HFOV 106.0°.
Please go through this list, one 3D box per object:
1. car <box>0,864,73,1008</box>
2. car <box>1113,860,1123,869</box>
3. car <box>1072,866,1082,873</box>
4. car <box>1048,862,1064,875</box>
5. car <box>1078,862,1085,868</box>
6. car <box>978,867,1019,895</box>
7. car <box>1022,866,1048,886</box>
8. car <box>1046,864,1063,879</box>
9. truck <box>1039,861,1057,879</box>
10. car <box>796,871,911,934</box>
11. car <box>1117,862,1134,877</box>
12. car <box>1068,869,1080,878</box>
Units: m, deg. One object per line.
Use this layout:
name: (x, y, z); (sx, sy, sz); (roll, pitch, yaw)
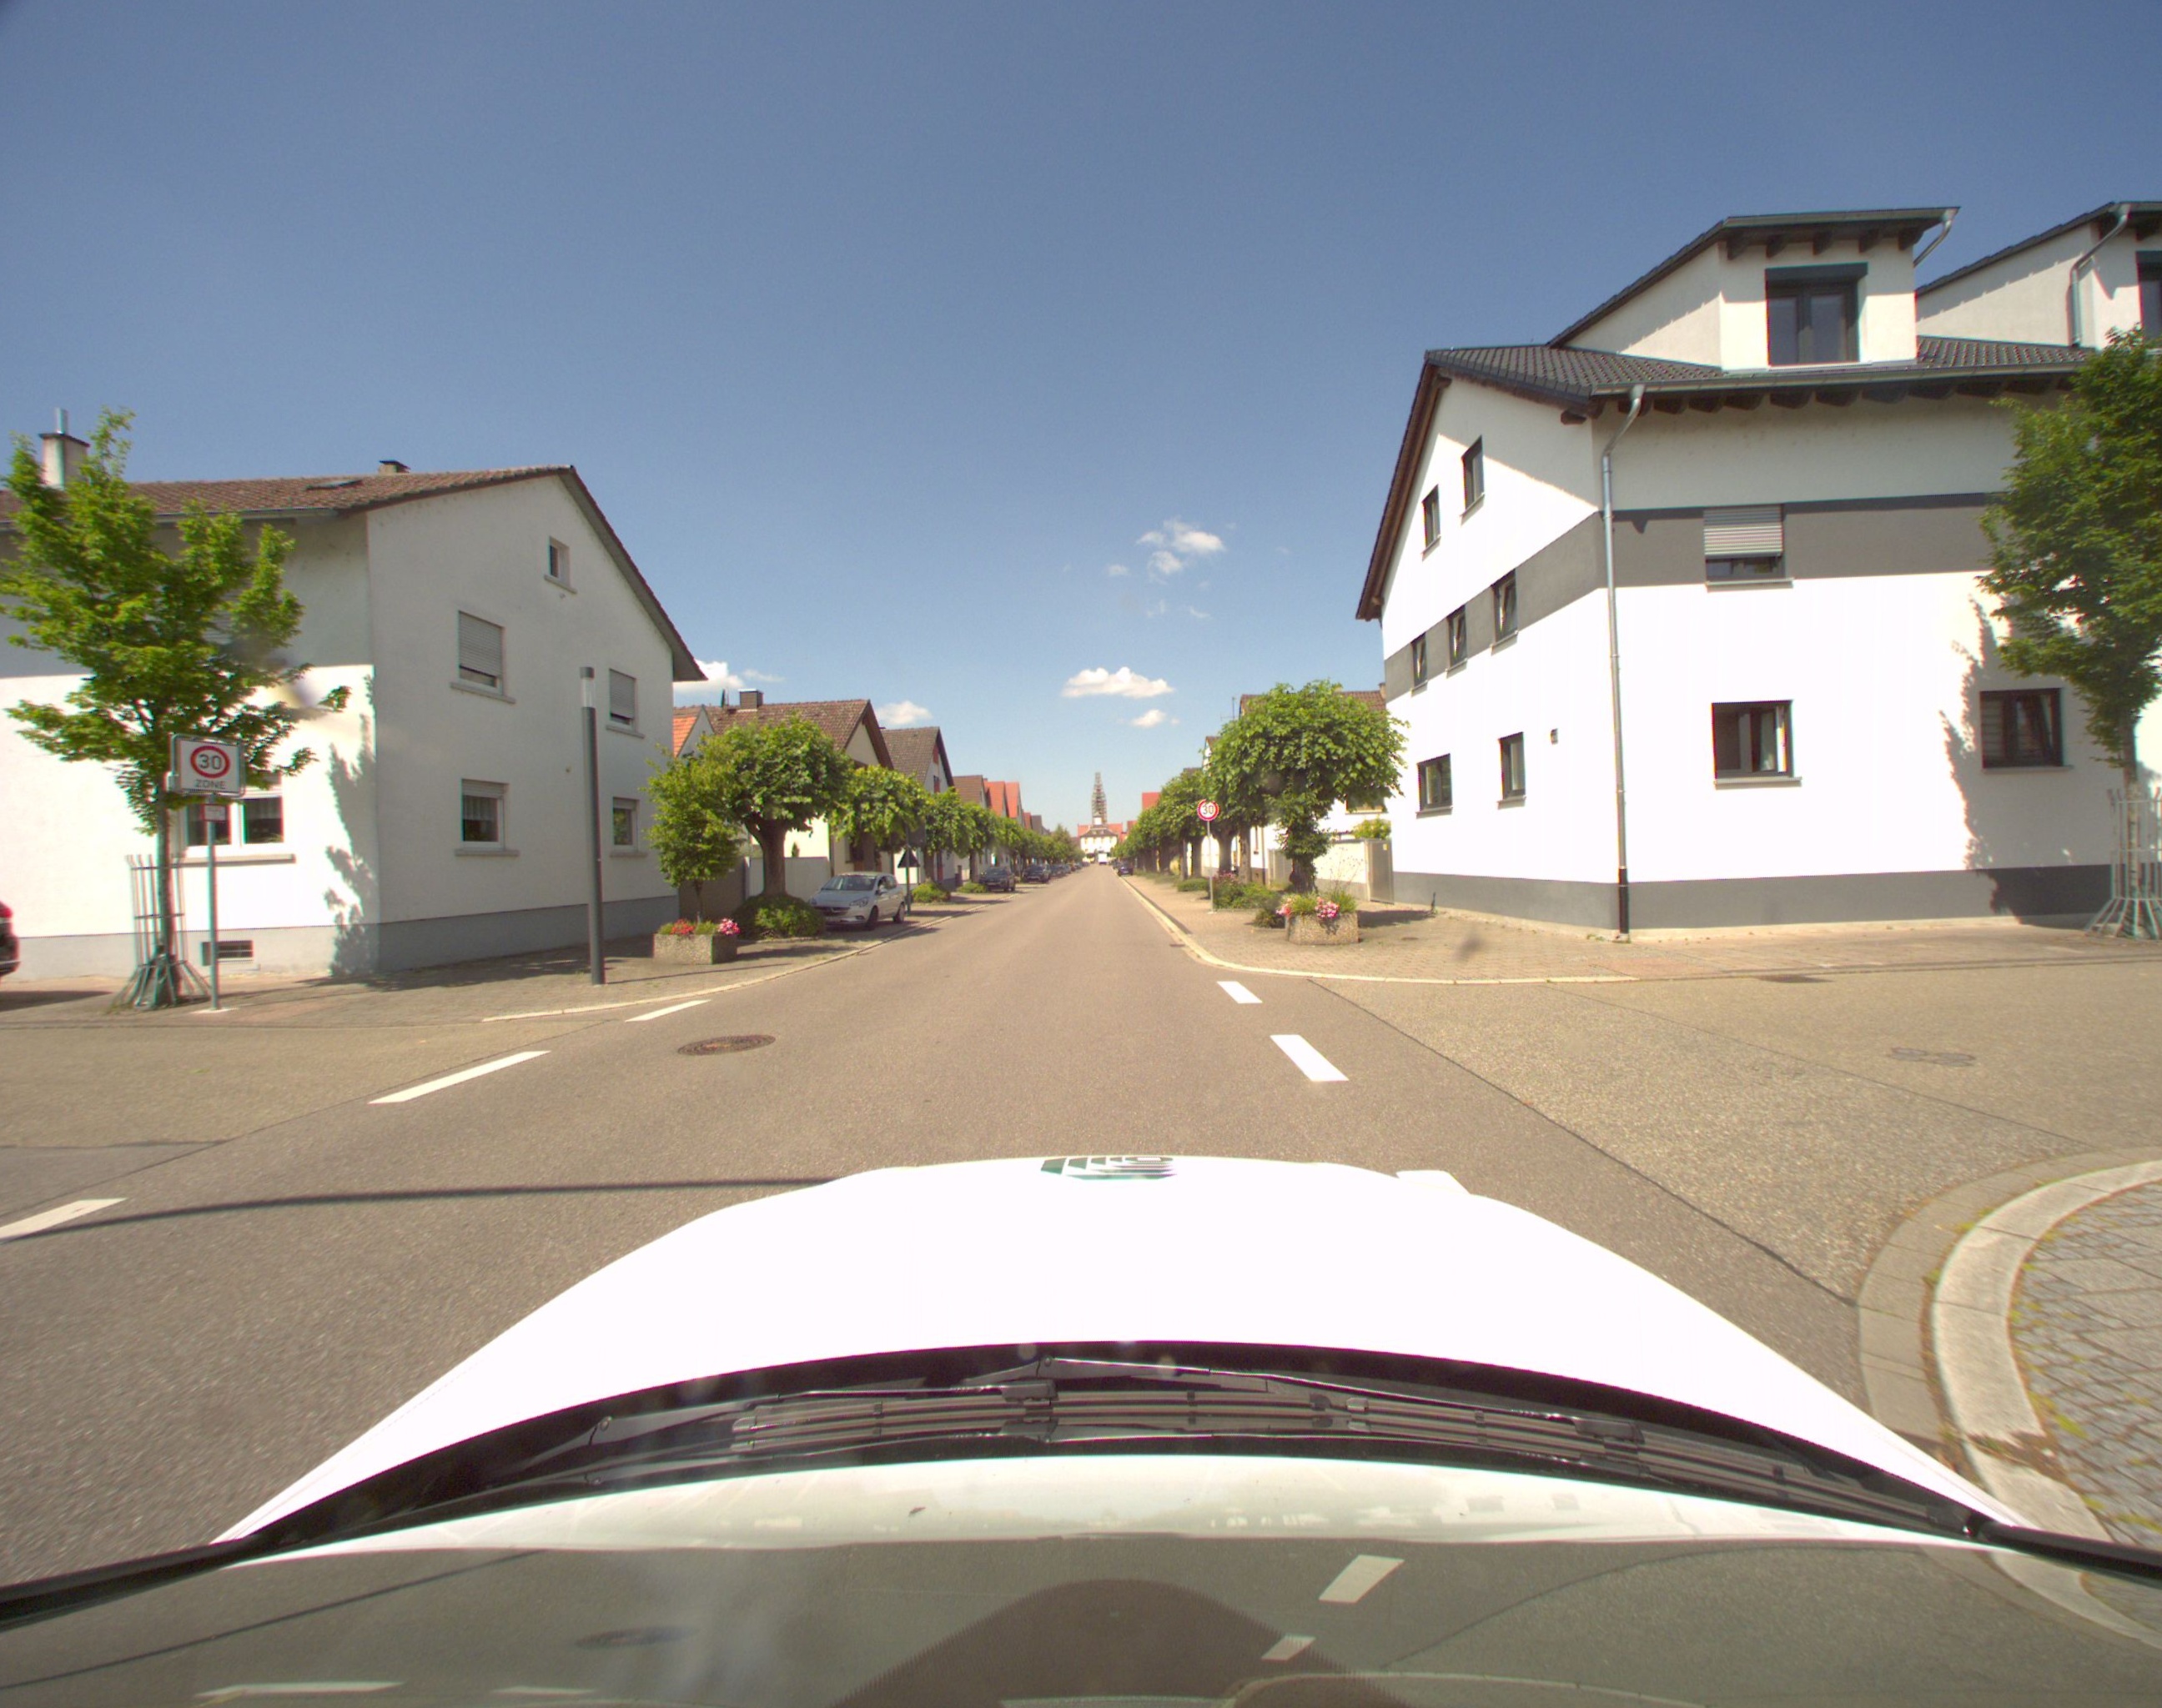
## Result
car: (-15.306, 1.092, 9.563); (4.408, 1.715, 2.001); (-2, 1, 1)
car: (7.445, 2.112, 165.098); (1.831, 1.555, 4.314); (-5, 0, 1)
car: (-0.852, 3.408, 179.276); (1.985, 1.611, 4.692); (0, 0, 2)
car: (-3.140, 1.836, 103.138); (1.846, 1.635, 4.057); (-1, -1, 1)
car: (0.232, 2.904, 222.234); (1.751, 1.555, 4.022); (-3, 0, 2)
car: (-5.007, 1.618, 49.976); (1.845, 1.613, 4.138); (-1, -1, 3)
car: (-3.913, 1.857, 70.117); (1.846, 1.636, 4.300); (-1, 0, 1)
car: (-3.154, 2.023, 95.219); (1.782, 1.634, 3.994); (-2, -1, -4)
truck: (-3.494, 1.684, 86.610); (1.570, 1.765, 4.193); (-1, -1, 1)
car: (-6.021, 1.249, 22.083); (1.818, 1.483, 4.134); (-1, -1, 2)
car: (5.193, 1.803, 95.551); (1.818, 1.432, 4.058); (-5, 0, 1)
car: (-1.333, 3.690, 157.255); (1.985, 1.611, 4.691); (-1, 0, 2)
